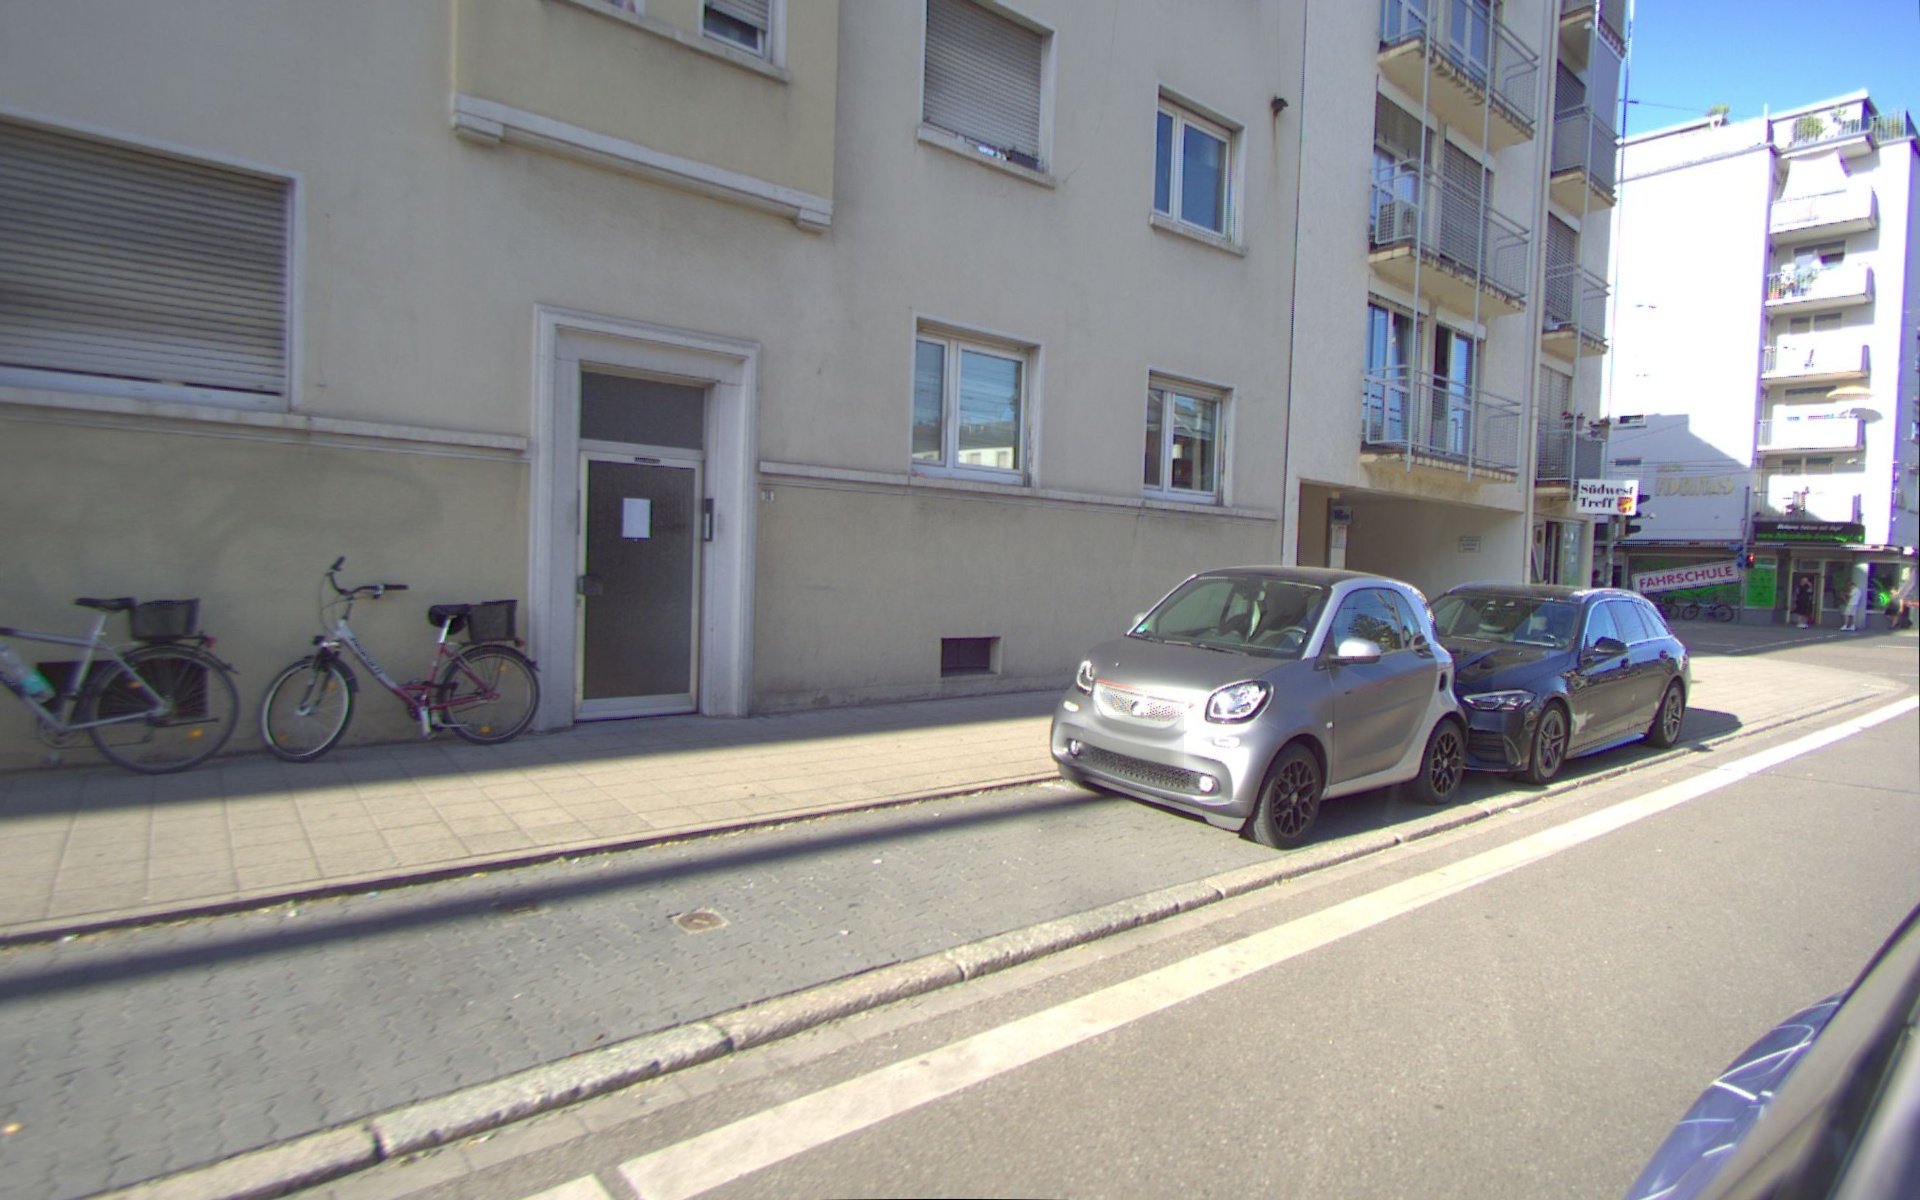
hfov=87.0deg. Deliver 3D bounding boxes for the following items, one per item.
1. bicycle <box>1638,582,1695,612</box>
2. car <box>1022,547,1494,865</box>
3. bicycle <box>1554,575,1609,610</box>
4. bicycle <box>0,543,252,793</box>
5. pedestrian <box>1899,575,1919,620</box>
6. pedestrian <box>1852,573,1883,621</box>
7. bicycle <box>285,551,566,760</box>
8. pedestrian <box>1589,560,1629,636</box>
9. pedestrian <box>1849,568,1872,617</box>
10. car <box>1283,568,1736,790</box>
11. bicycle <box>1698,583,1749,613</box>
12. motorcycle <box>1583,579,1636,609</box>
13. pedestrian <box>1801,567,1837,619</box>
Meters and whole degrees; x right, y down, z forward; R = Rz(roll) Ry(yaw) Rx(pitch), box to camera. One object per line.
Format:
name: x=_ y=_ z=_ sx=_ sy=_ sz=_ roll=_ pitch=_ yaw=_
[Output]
bicycle: x=29.224 y=-0.143 z=41.882 sx=0.598 sy=1.101 sz=1.795 roll=-3 pitch=5 yaw=-40
car: x=2.013 y=0.470 z=6.580 sx=2.937 sy=1.544 sz=1.556 roll=-2 pitch=5 yaw=-40
bicycle: x=25.624 y=-0.313 z=41.734 sx=0.598 sy=1.330 sz=1.795 roll=-3 pitch=5 yaw=-40
bicycle: x=-4.835 y=0.327 z=5.274 sx=1.847 sy=1.207 sz=0.631 roll=0 pitch=4 yaw=-38
pedestrian: x=36.973 y=-0.096 z=39.143 sx=0.746 sy=1.671 sz=0.700 roll=2 pitch=4 yaw=-38
pedestrian: x=34.489 y=-0.119 z=38.452 sx=0.723 sy=1.814 sz=0.662 roll=0 pitch=2 yaw=-34
bicycle: x=-3.418 y=0.315 z=6.533 sx=1.528 sy=1.207 sz=0.515 roll=0 pitch=3 yaw=-38
pedestrian: x=15.632 y=-0.066 z=24.388 sx=0.683 sy=1.763 sz=1.029 roll=4 pitch=3 yaw=35
pedestrian: x=35.884 y=-0.309 z=40.320 sx=0.510 sy=1.877 sz=0.597 roll=-3 pitch=5 yaw=-44
car: x=5.117 y=0.492 z=9.146 sx=4.656 sy=1.414 sz=1.889 roll=-1 pitch=5 yaw=-39
bicycle: x=30.609 y=-0.092 z=40.588 sx=0.543 sy=1.119 sz=1.538 roll=-3 pitch=5 yaw=-38
motorcycle: x=27.752 y=-0.261 z=43.261 sx=0.598 sy=1.148 sz=1.795 roll=-3 pitch=5 yaw=-40
pedestrian: x=32.892 y=-0.279 z=38.761 sx=0.563 sy=1.922 sz=0.741 roll=0 pitch=4 yaw=-23
